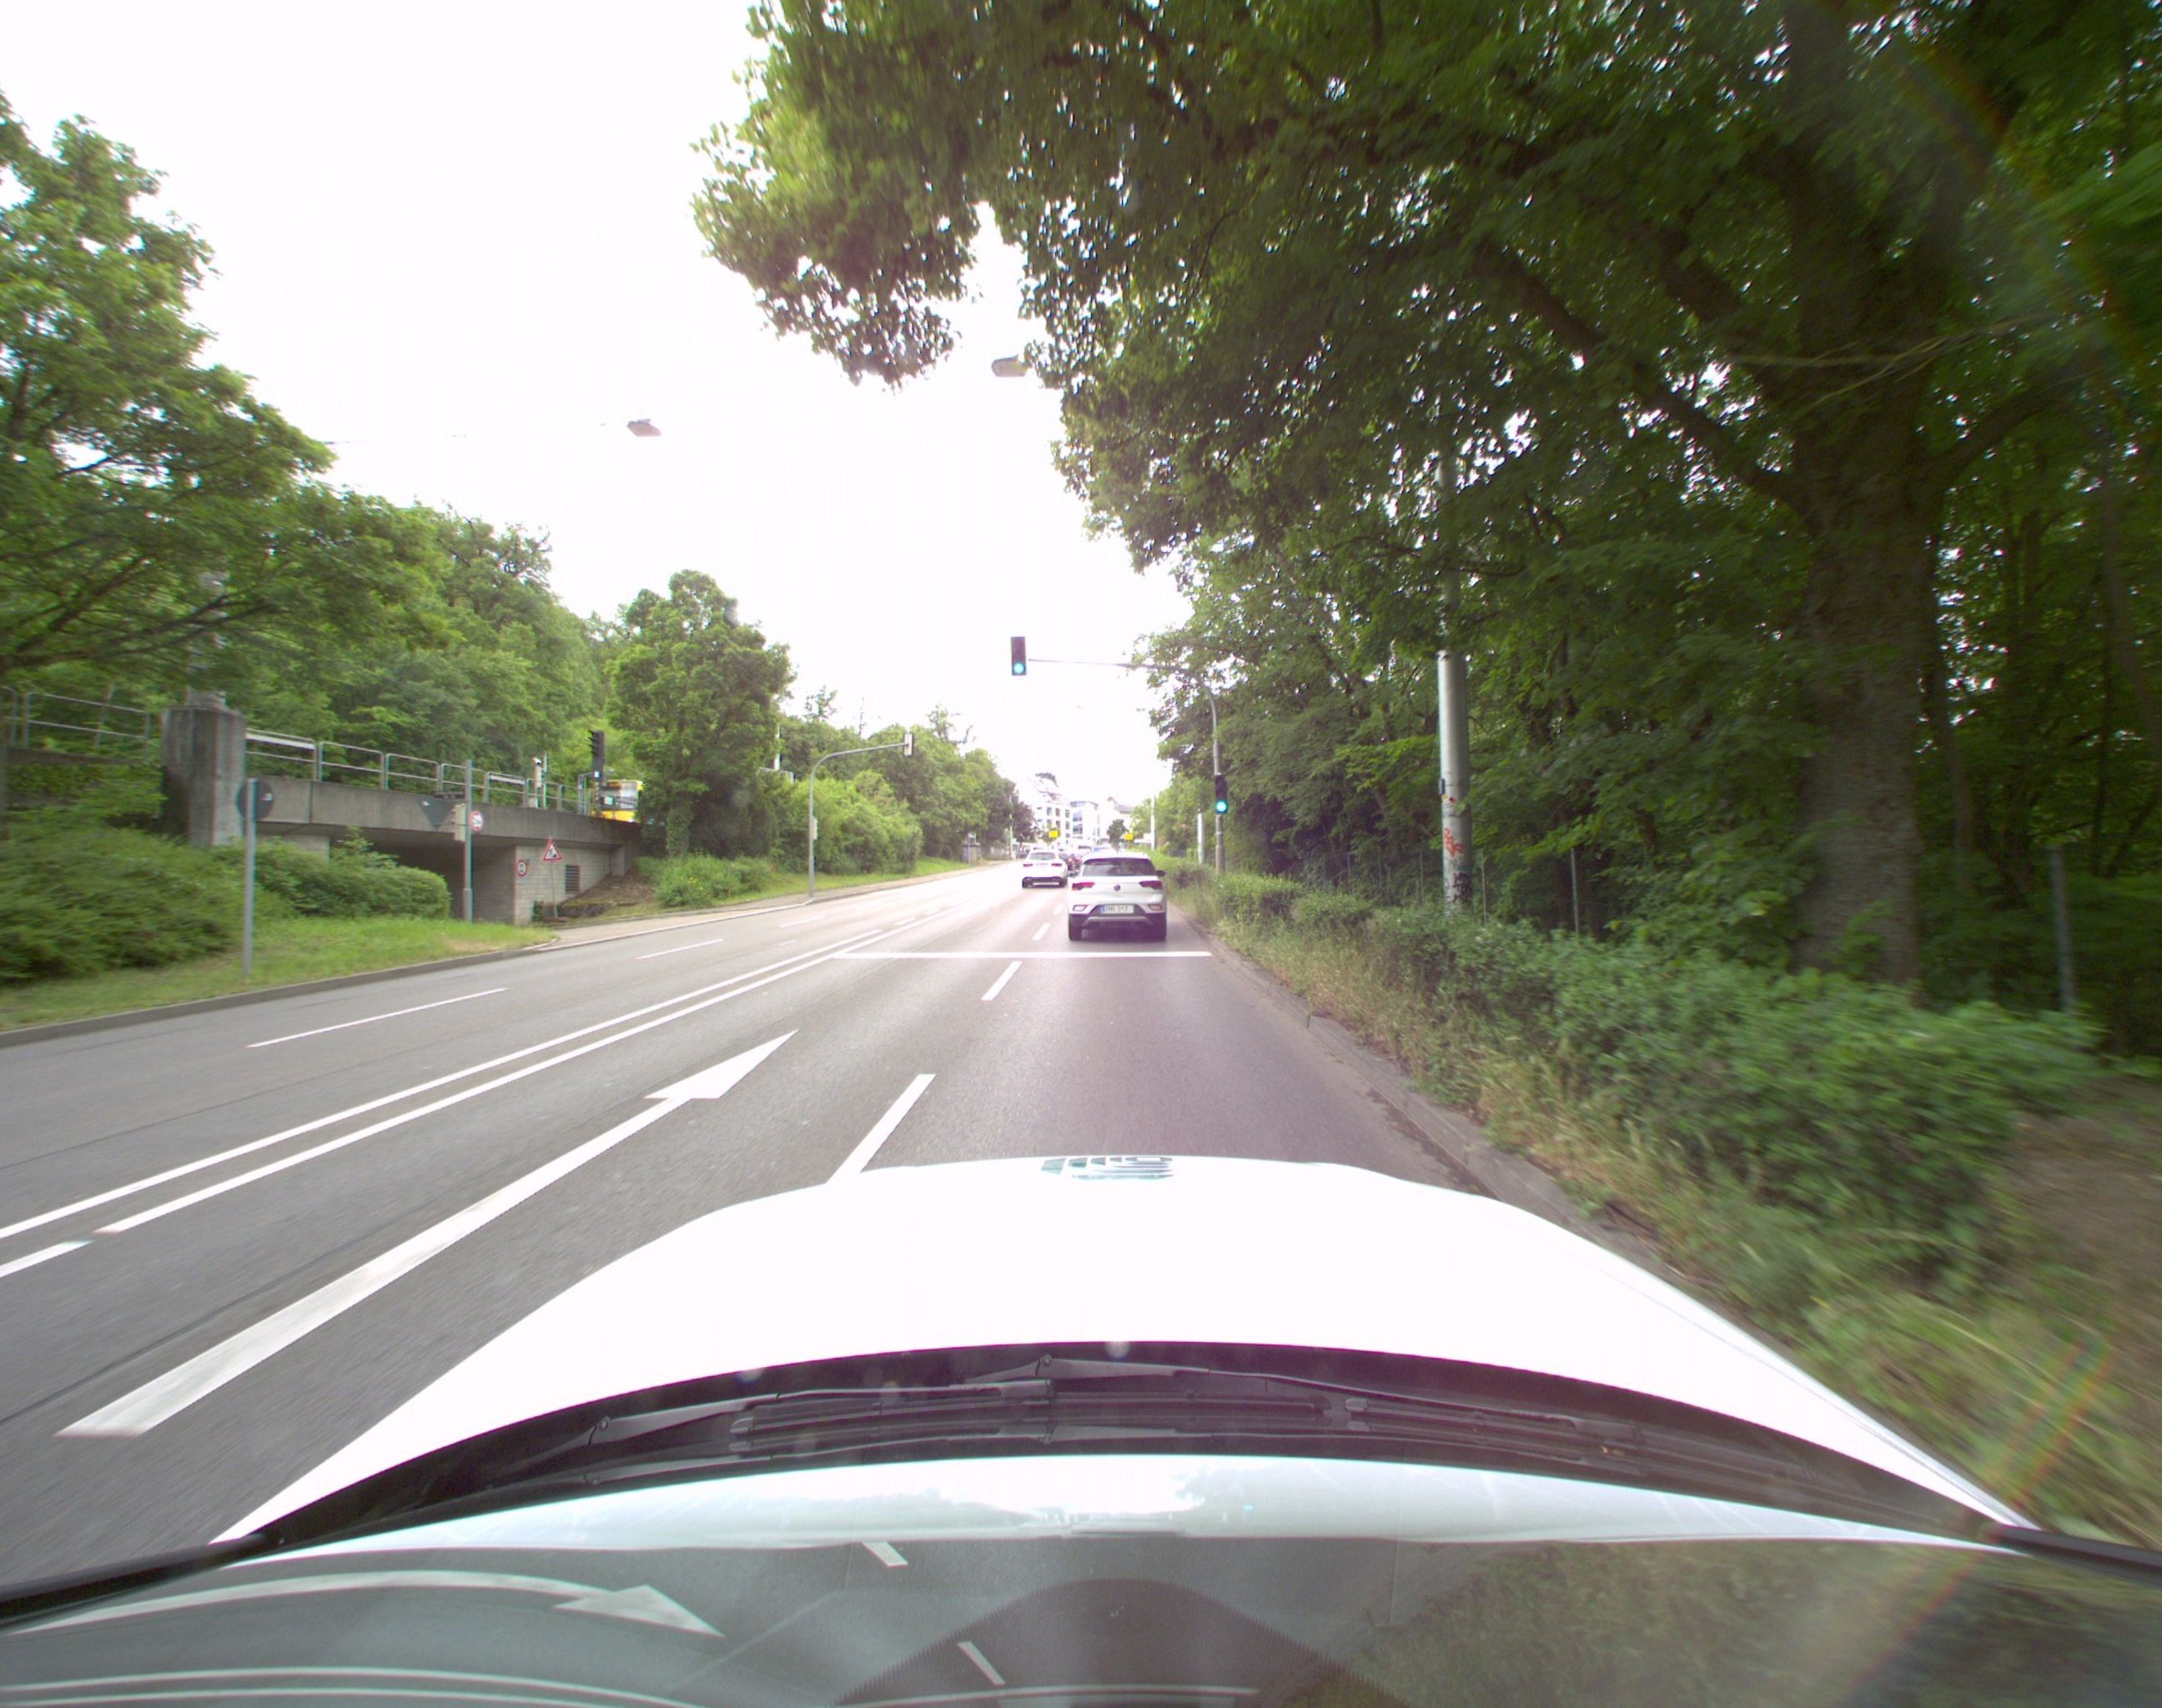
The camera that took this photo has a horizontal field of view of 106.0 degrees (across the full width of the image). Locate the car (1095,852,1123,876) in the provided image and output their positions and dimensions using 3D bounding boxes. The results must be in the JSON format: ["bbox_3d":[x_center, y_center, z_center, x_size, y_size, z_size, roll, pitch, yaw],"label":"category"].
[{"bbox_3d":[1.947,0.651,56.951,1.822,1.526,4.001,-2,0,1],"label":"car"}]

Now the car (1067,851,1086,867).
[{"bbox_3d":[-0.463,0.479,84.630,1.822,1.526,4.001,-2,0,1],"label":"car"}]

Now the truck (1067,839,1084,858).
[{"bbox_3d":[-0.774,-0.850,123.364,2.354,2.782,4.479,-3,0,1],"label":"truck"}]

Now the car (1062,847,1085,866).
[{"bbox_3d":[-0.612,0.179,69.280,1.822,1.526,4.001,-2,0,1],"label":"car"}]

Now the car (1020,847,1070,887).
[{"bbox_3d":[-1.554,0.540,36.177,1.911,1.669,4.001,-1,0,1],"label":"car"}]

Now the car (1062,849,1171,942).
[{"bbox_3d":[0.667,0.703,15.915,1.822,1.526,4.001,-2,0,1],"label":"car"}]

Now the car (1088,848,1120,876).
[{"bbox_3d":[1.377,0.442,48.979,1.822,1.526,4.001,-2,0,1],"label":"car"}]

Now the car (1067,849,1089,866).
[{"bbox_3d":[-0.250,0.308,76.654,1.822,1.526,4.001,-2,0,1],"label":"car"}]

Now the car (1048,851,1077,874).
[{"bbox_3d":[-1.279,0.582,58.989,1.822,1.497,4.001,-2,0,1],"label":"car"}]

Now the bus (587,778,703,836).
[{"bbox_3d":[-26.149,-2.685,49.378,2.531,2.789,7.945,-3,-1,1],"label":"bus"}]

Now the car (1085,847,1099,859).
[{"bbox_3d":[1.568,-0.105,113.832,1.822,1.526,4.001,-2,0,1],"label":"car"}]

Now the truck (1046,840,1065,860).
[{"bbox_3d":[-3.712,-0.605,118.862,2.354,2.706,4.479,-3,0,1],"label":"truck"}]

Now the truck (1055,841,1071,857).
[{"bbox_3d":[-3.741,-0.955,168.062,2.282,3.051,6.990,-3,0,5],"label":"truck"}]
